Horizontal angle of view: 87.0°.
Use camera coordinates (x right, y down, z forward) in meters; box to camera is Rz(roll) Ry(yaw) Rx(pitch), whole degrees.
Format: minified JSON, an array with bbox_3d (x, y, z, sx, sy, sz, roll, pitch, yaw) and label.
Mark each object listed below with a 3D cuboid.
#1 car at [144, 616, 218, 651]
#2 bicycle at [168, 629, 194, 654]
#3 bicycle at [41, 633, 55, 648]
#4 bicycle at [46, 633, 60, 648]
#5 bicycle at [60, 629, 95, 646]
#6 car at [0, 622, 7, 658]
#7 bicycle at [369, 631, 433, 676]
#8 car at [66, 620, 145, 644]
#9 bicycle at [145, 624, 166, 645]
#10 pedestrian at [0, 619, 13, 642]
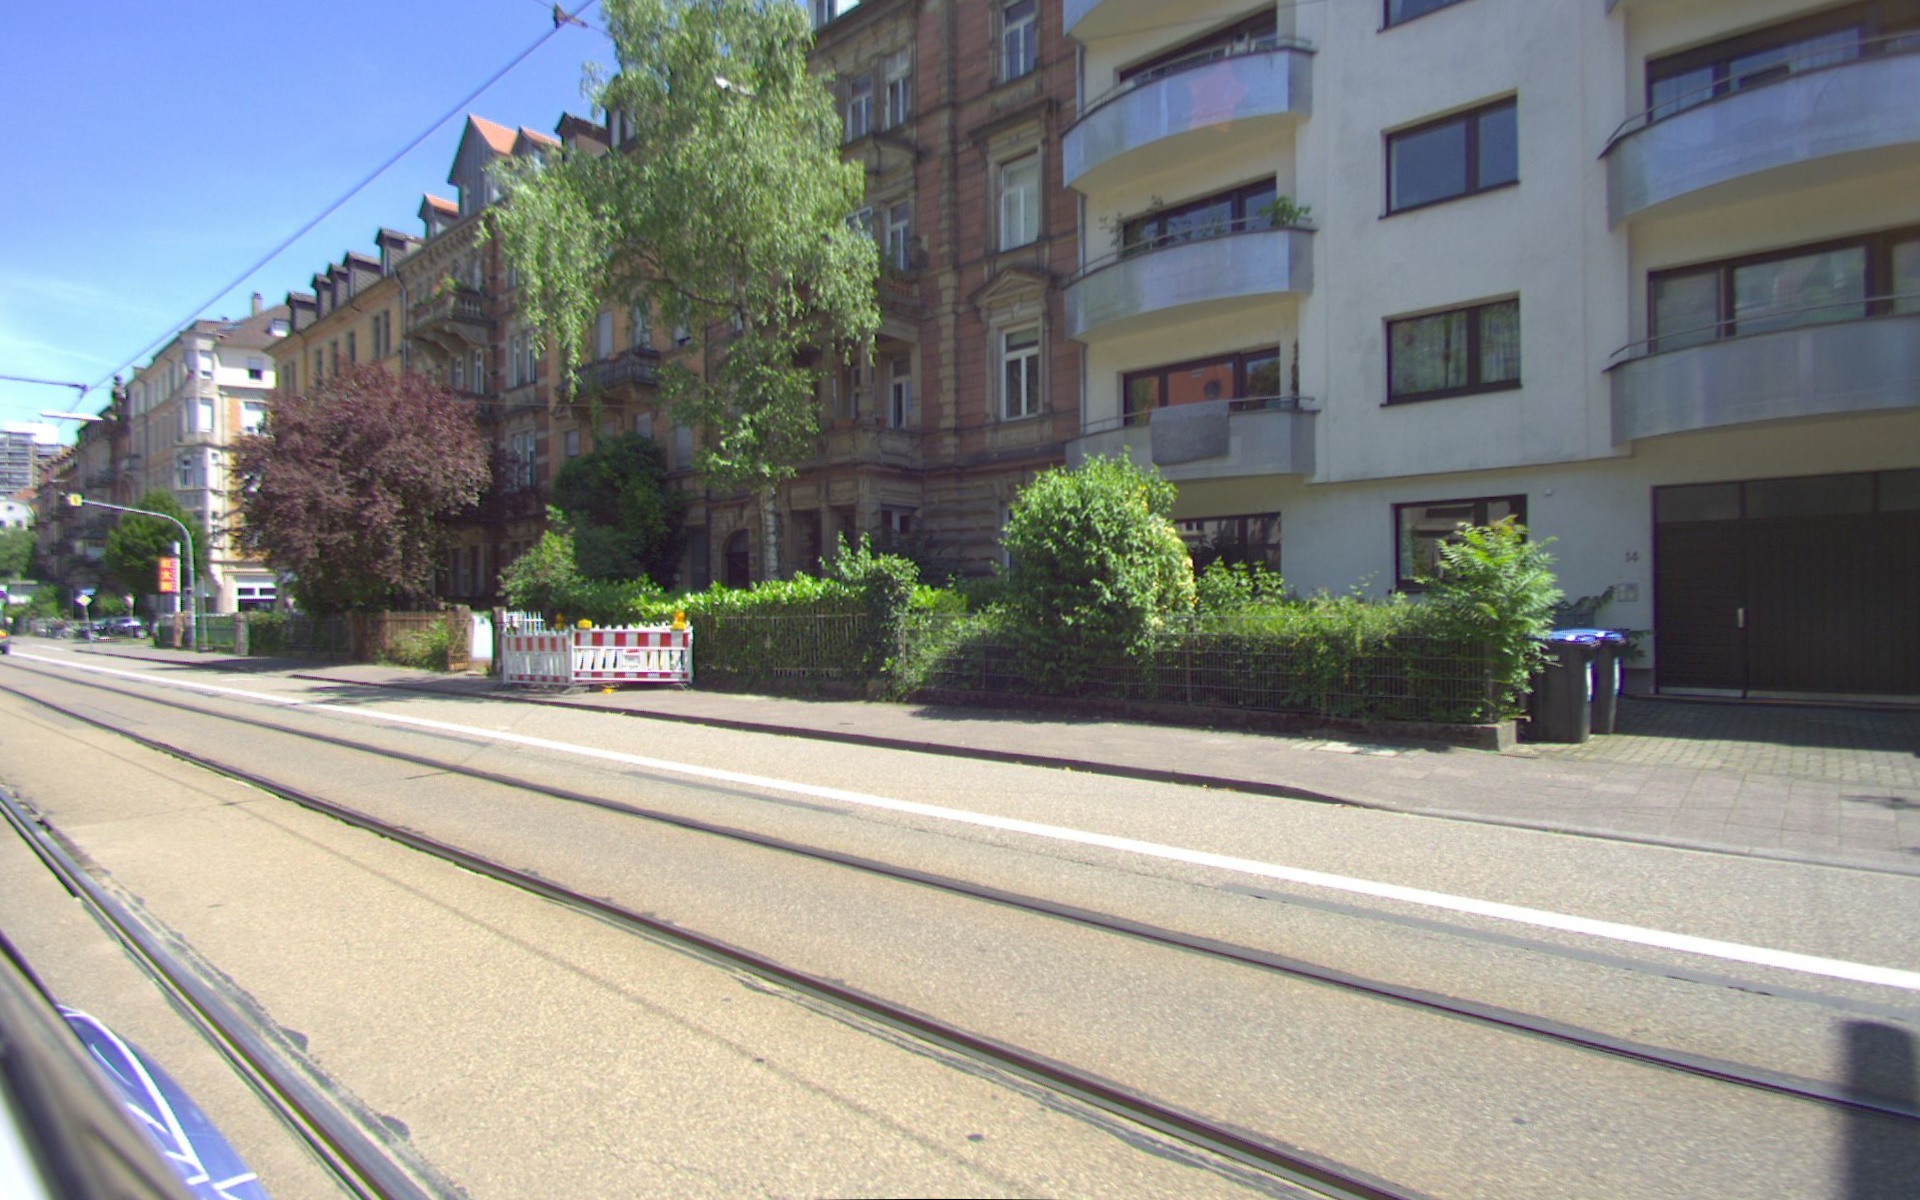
[{"bbox_3d":[-38.703,1.641,50.258,4.094,1.612,1.849,-1,0,36],"label":"car"},{"bbox_3d":[-33.049,1.753,42.929,1.804,1.011,0.449,-1,-1,38],"label":"bicycle"},{"bbox_3d":[-60.845,2.717,67.528,1.709,0.991,0.434,-2,-2,40],"label":"bicycle"},{"bbox_3d":[-59.326,2.645,66.167,1.709,0.991,0.434,-2,-2,40],"label":"bicycle"},{"bbox_3d":[-57.574,2.439,66.012,1.685,1.045,0.551,0,-2,-45],"label":"bicycle"},{"bbox_3d":[-41.220,1.685,42.287,3.746,1.465,1.669,-1,-1,41],"label":"car"},{"bbox_3d":[-16.622,1.571,30.123,0.507,1.196,1.599,-2,1,28],"label":"bicycle"},{"bbox_3d":[-55.348,2.046,65.588,1.713,1.439,3.720,0,0,41],"label":"car"},{"bbox_3d":[-49.357,2.106,62.101,0.493,1.237,1.856,1,0,-21],"label":"bicycle"},{"bbox_3d":[-76.142,2.448,80.649,1.138,1.736,0.842,-2,1,42],"label":"pedestrian"}]
